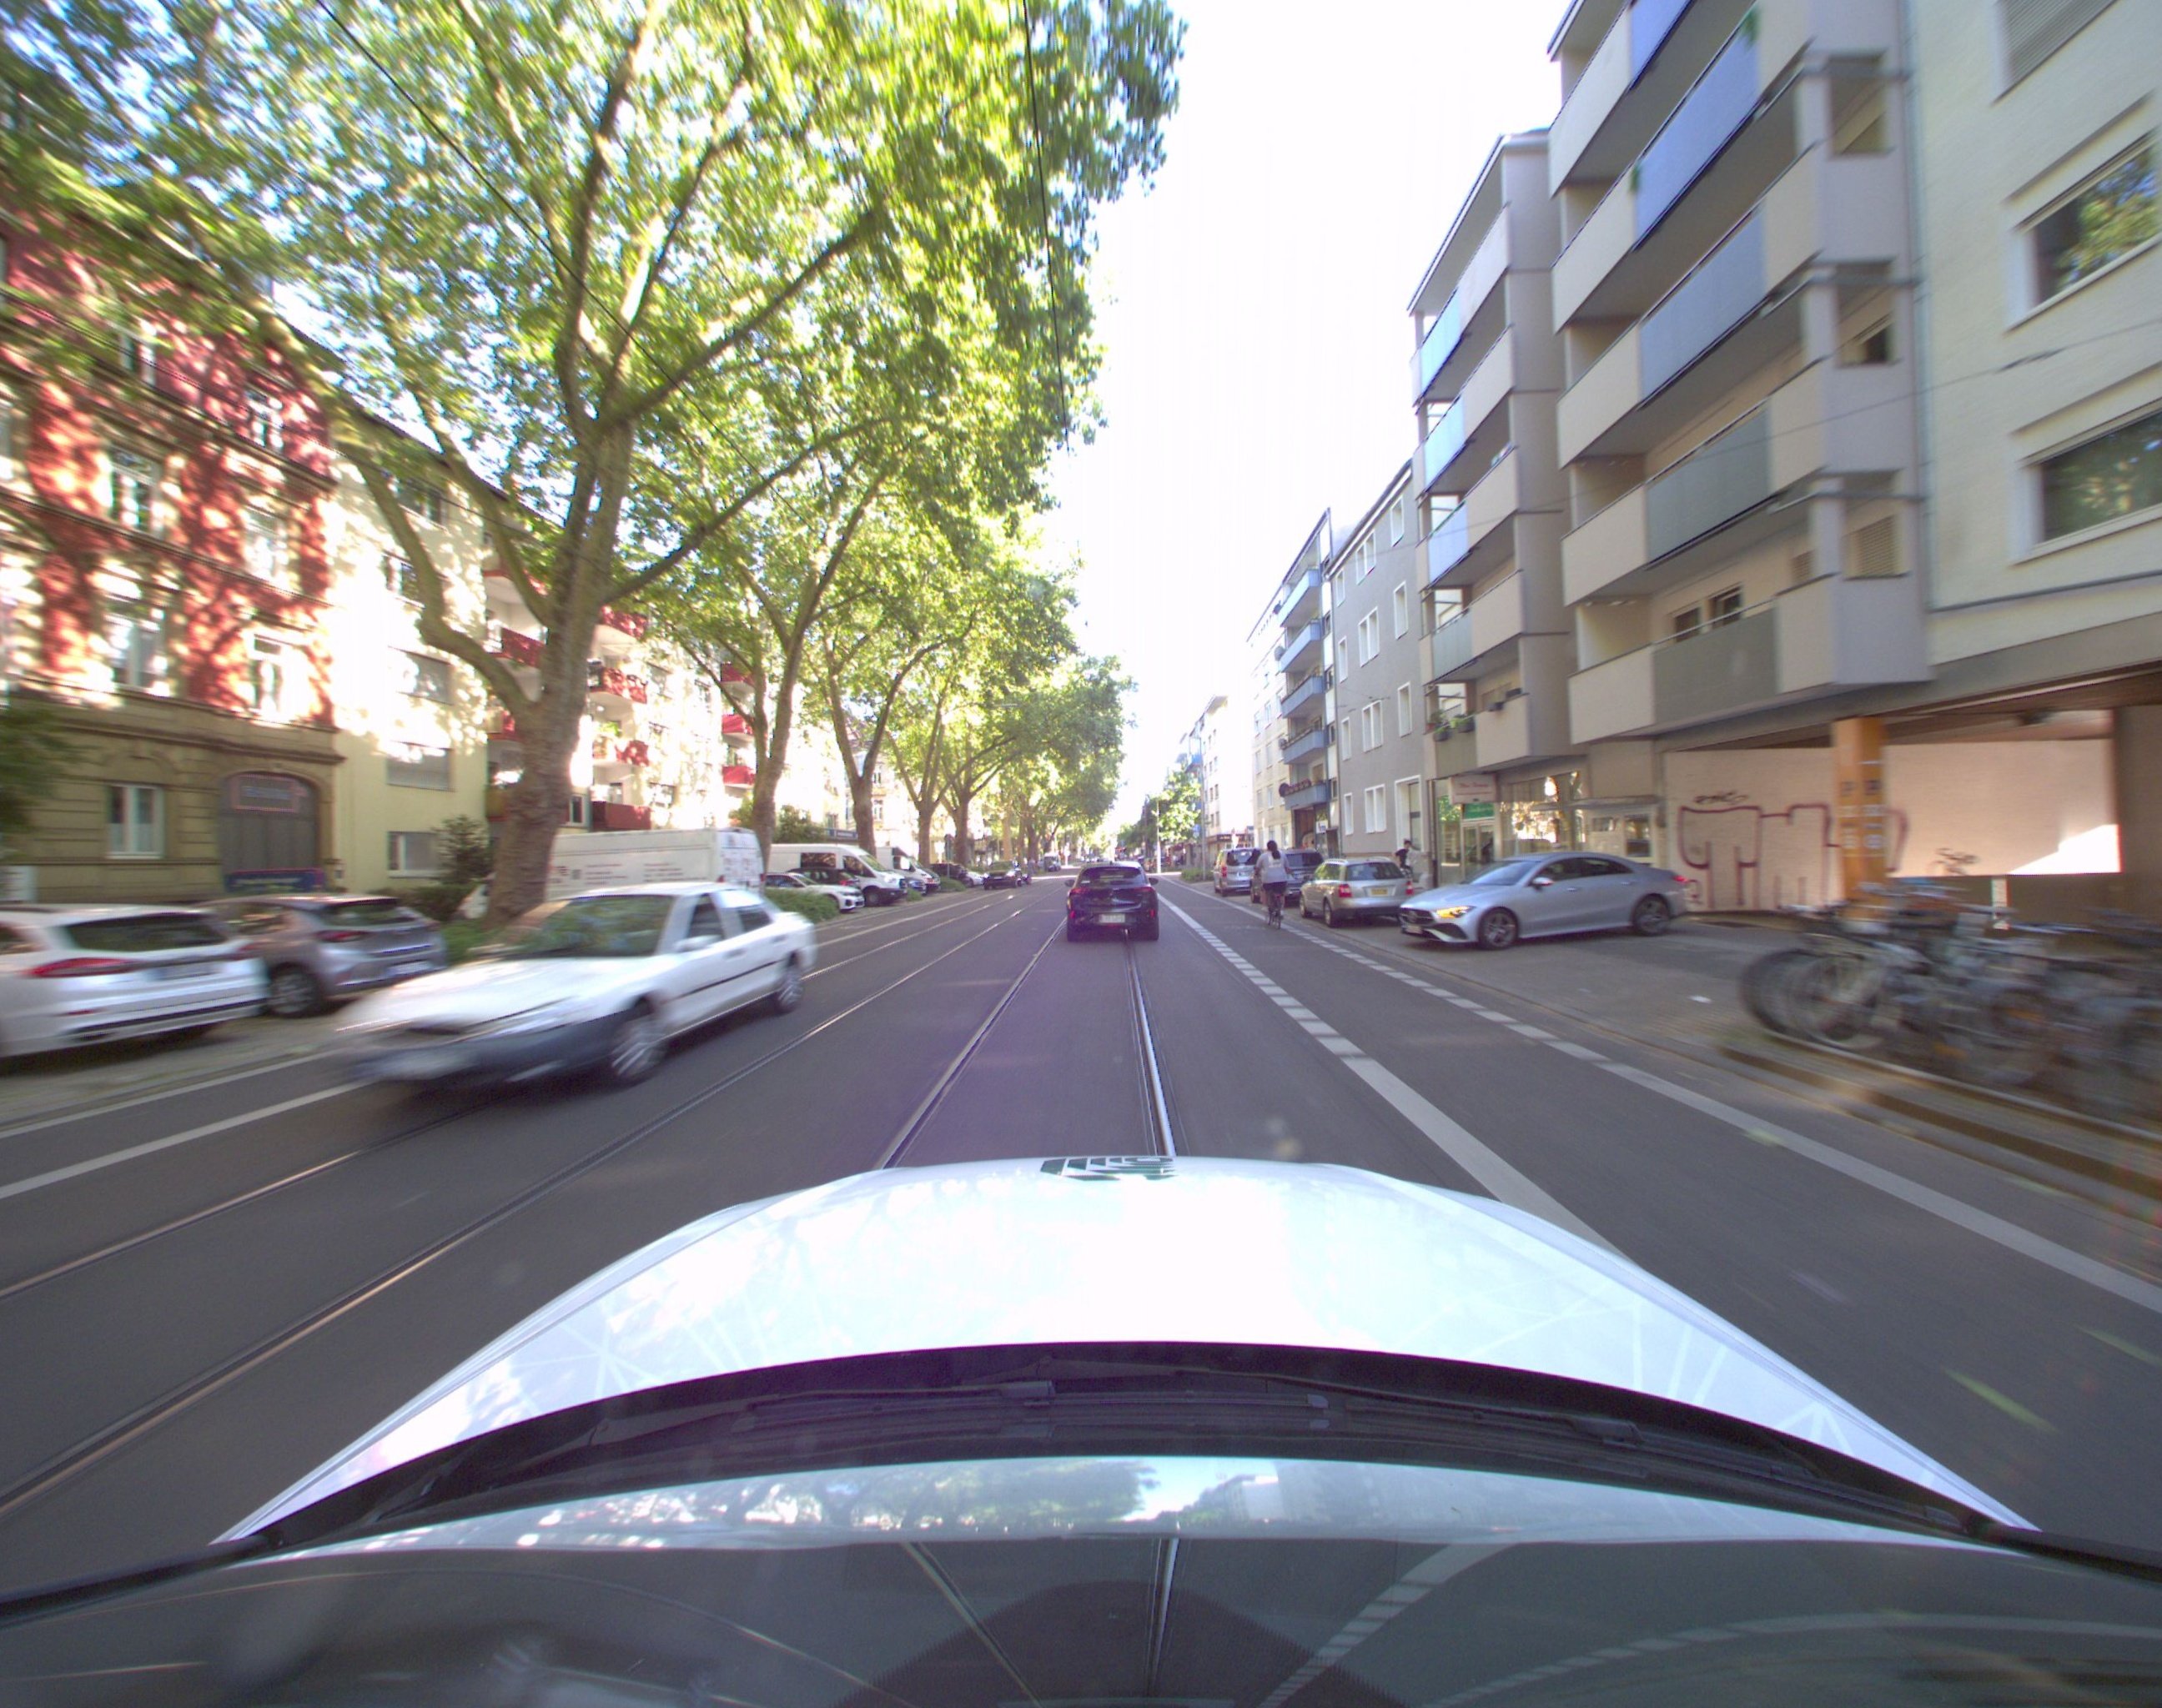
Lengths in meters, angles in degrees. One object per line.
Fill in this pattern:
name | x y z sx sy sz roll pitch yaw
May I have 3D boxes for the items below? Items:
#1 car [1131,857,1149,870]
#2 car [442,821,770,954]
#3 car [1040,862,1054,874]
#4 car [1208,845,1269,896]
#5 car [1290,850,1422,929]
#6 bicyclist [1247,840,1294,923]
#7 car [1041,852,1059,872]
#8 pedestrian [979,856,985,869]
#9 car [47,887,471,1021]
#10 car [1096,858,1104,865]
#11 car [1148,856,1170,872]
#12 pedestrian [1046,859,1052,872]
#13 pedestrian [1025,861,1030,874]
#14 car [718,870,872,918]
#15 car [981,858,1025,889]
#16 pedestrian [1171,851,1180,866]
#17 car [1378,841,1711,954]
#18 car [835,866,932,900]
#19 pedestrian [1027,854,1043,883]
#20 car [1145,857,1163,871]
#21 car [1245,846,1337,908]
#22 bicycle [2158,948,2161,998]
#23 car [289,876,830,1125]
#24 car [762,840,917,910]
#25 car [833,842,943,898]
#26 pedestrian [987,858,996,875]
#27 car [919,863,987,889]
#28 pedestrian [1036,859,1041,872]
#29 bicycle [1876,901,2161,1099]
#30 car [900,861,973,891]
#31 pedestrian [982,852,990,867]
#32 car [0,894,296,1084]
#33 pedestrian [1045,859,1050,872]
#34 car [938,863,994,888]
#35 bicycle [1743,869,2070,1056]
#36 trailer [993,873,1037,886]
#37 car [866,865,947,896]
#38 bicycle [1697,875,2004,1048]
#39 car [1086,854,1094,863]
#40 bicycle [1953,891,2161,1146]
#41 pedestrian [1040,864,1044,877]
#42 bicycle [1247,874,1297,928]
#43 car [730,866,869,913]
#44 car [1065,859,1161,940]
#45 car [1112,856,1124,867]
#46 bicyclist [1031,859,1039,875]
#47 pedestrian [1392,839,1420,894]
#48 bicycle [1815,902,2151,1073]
car | 7.830 1.242 107.877 1.988 1.640 3.997 -2 0 -2
car | -9.967 0.679 17.442 5.718 2.536 2.164 -1 0 2
car | -4.612 1.875 110.180 1.749 1.508 3.998 -2 0 -1
car | 6.467 0.649 34.016 1.850 1.890 4.929 -2 0 4
car | 6.113 0.722 18.645 1.717 1.525 4.517 -2 0 4
bicyclist | 4.146 0.586 17.866 0.783 1.759 0.915 -2 -1 1
car | -4.377 1.121 116.098 2.084 2.584 5.999 -2 0 2
pedestrian | -12.625 1.088 103.486 0.549 1.652 0.650 -2 -1 5
car | -10.344 1.219 10.435 3.792 1.432 1.706 -2 0 4
car | 4.631 1.847 196.090 1.742 1.651 4.004 -2 0 4
car | 8.001 1.041 83.444 1.713 1.574 4.082 -2 0 -2
pedestrian | -3.983 1.471 100.740 0.681 1.583 0.557 -2 -1 0
pedestrian | -6.628 1.690 100.279 0.507 1.583 0.524 -2 -1 -13
car | -9.466 1.305 27.179 4.393 1.384 1.934 -2 0 1
car | -4.673 1.144 49.419 1.986 1.700 4.486 -4 0 2
pedestrian | 10.905 0.540 94.031 0.762 1.748 0.799 -2 -1 18
car | 7.556 0.645 13.475 4.613 1.437 1.859 -3 0 -9
car | -9.180 1.337 38.119 4.003 1.466 1.873 -2 0 2
pedestrian | -2.922 0.923 51.930 0.707 1.735 0.915 -3 0 8
car | 7.959 1.084 88.975 1.712 1.490 3.682 -2 0 1
car | 6.355 0.654 25.123 1.760 1.705 4.284 -2 0 1
bicycle | 5.886 0.876 3.560 1.646 0.987 0.457 -4 -1 1
car | -3.870 0.957 7.189 1.711 1.359 4.472 -2 0 2
car | -9.395 0.802 31.976 5.339 2.477 2.058 -2 -1 2
car | -9.582 0.797 40.812 4.929 2.567 2.081 -2 -1 -2
pedestrian | -10.056 1.438 91.582 0.903 1.869 0.643 -2 -1 -4
car | -8.104 1.391 51.923 3.973 1.522 1.771 -2 0 0
pedestrian | -5.235 1.420 99.787 0.505 1.583 0.526 -2 -1 -2
bicycle | 5.937 0.865 4.960 1.646 1.020 0.457 -4 -1 1
car | -8.708 1.288 49.251 3.973 1.647 1.894 -2 0 0
pedestrian | -10.546 0.588 90.202 0.845 1.632 0.643 -2 -1 -4
car | -10.420 1.241 7.841 3.971 1.496 1.831 -2 0 2
pedestrian | -4.101 1.380 100.091 0.505 1.583 0.527 -2 -1 1
car | -7.551 1.402 53.868 3.421 1.530 1.786 -2 -1 -1
bicycle | 5.984 0.766 5.952 1.816 1.191 0.457 -4 -1 1
trailer | -4.369 1.680 54.839 2.152 0.632 6.403 -2 0 2
car | -9.282 1.391 43.487 3.841 1.478 1.861 -2 0 0
bicycle | 6.027 0.828 6.430 1.885 1.191 0.457 -4 -1 1
car | 2.452 1.171 220.904 1.988 2.211 5.098 -2 0 -2
bicycle | 5.972 0.804 4.344 1.787 1.148 0.705 -4 -1 1
pedestrian | -4.817 1.994 100.325 0.345 1.583 0.508 -2 -1 0
bicycle | 4.195 1.006 17.986 0.698 1.092 1.991 0 -1 2
car | -10.184 1.270 29.697 4.354 1.539 1.873 -2 0 1
car | 0.616 0.818 16.118 1.673 1.422 3.629 0 -1 2
car | 5.781 1.163 126.620 1.850 1.651 4.004 -2 0 4
bicyclist | -4.876 1.333 86.446 0.781 1.678 0.957 -2 -1 1
pedestrian | 10.416 0.400 26.095 0.750 1.720 0.723 -2 -1 19
bicycle | 5.975 0.869 5.439 1.646 0.966 0.457 -4 -1 1
